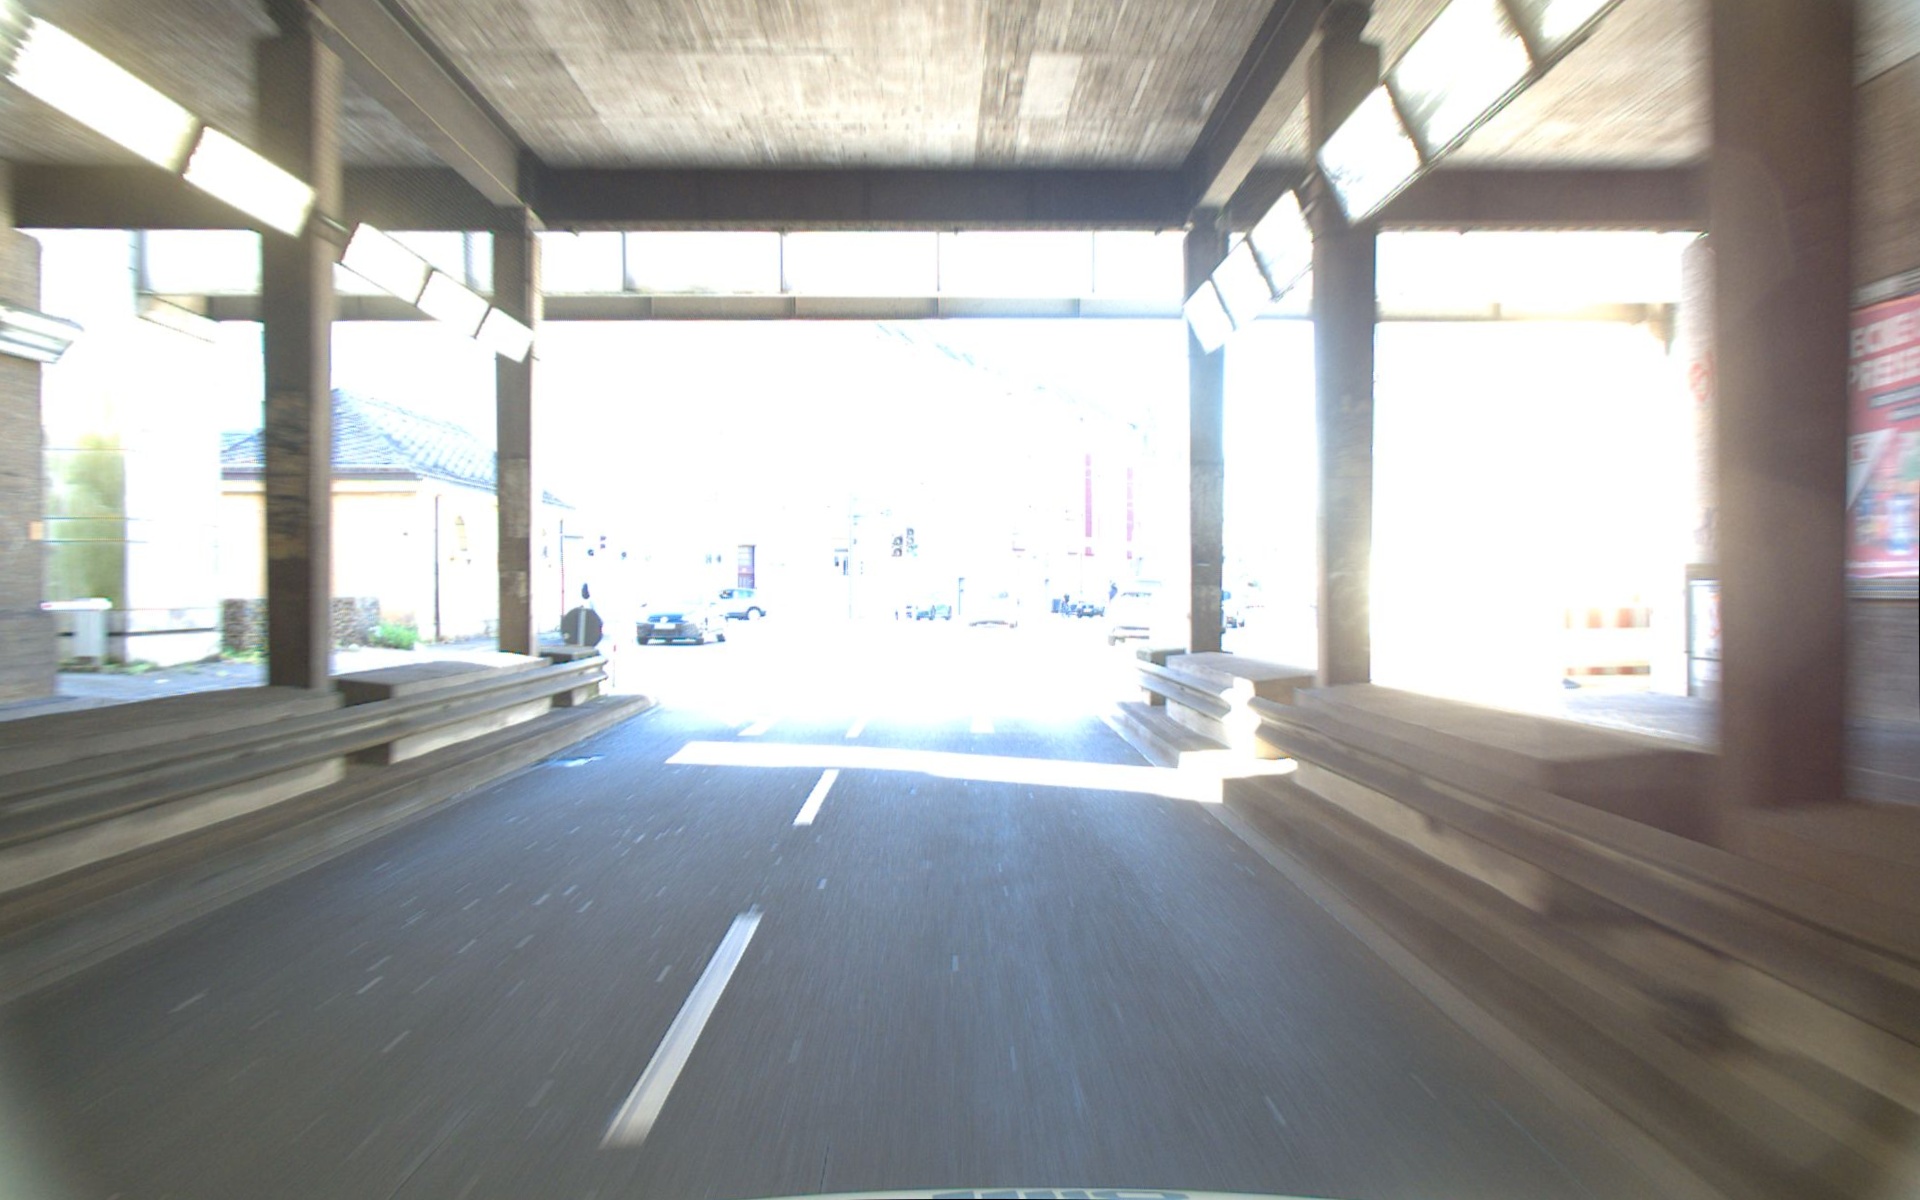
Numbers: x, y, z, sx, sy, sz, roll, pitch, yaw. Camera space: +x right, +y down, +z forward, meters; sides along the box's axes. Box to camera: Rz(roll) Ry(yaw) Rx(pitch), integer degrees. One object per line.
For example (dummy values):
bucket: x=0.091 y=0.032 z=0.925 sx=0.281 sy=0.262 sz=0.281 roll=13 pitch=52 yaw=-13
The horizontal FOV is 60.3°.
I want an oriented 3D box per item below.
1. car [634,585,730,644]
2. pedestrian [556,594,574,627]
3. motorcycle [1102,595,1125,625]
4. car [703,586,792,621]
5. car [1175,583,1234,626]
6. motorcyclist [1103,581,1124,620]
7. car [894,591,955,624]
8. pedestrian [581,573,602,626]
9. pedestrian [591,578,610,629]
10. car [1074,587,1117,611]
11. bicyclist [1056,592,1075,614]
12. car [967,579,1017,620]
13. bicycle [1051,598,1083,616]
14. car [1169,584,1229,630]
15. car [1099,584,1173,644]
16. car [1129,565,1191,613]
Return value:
car: x=-7.169 y=0.342 z=43.017 sx=1.716 sy=1.429 sz=4.416 roll=0 pitch=1 yaw=1
pedestrian: x=-19.121 y=0.492 z=80.094 sx=0.703 sy=1.591 sz=0.677 roll=0 pitch=0 yaw=1
motorcycle: x=5.853 y=0.363 z=63.001 sx=0.761 sy=1.101 sz=2.283 roll=0 pitch=1 yaw=7
car: x=-10.053 y=0.136 z=78.263 sx=3.824 sy=1.601 sz=1.912 roll=0 pitch=0 yaw=-29
car: x=9.655 y=0.166 z=65.120 sx=1.776 sy=1.610 sz=4.003 roll=0 pitch=0 yaw=16
motorcyclist: x=5.838 y=0.014 z=62.961 sx=0.761 sy=1.448 sz=0.892 roll=0 pitch=0 yaw=7
car: x=-1.585 y=0.310 z=75.384 sx=1.772 sy=1.415 sz=4.251 roll=0 pitch=1 yaw=13
pedestrian: x=-11.677 y=-0.032 z=52.379 sx=0.507 sy=1.668 sz=0.620 roll=0 pitch=0 yaw=-27
pedestrian: x=-11.857 y=0.115 z=54.509 sx=0.482 sy=1.668 sz=0.620 roll=0 pitch=0 yaw=-27
car: x=8.500 y=-0.092 z=103.632 sx=1.785 sy=1.450 sz=4.330 roll=0 pitch=0 yaw=17
bicyclist: x=6.785 y=0.181 z=106.293 sx=0.915 sy=1.406 sz=1.147 roll=0 pitch=0 yaw=25
car: x=1.139 y=-0.018 z=59.470 sx=1.750 sy=1.418 sz=4.106 roll=0 pitch=0 yaw=1
bicycle: x=6.903 y=0.431 z=106.571 sx=0.915 sy=1.074 sz=3.352 roll=0 pitch=1 yaw=25
car: x=8.268 y=0.215 z=56.939 sx=1.694 sy=1.527 sz=4.003 roll=0 pitch=1 yaw=14
car: x=4.827 y=0.337 z=44.974 sx=1.906 sy=1.555 sz=4.093 roll=0 pitch=1 yaw=7
car: x=8.910 y=-0.488 z=73.387 sx=2.126 sy=2.044 sz=4.812 roll=0 pitch=0 yaw=14
